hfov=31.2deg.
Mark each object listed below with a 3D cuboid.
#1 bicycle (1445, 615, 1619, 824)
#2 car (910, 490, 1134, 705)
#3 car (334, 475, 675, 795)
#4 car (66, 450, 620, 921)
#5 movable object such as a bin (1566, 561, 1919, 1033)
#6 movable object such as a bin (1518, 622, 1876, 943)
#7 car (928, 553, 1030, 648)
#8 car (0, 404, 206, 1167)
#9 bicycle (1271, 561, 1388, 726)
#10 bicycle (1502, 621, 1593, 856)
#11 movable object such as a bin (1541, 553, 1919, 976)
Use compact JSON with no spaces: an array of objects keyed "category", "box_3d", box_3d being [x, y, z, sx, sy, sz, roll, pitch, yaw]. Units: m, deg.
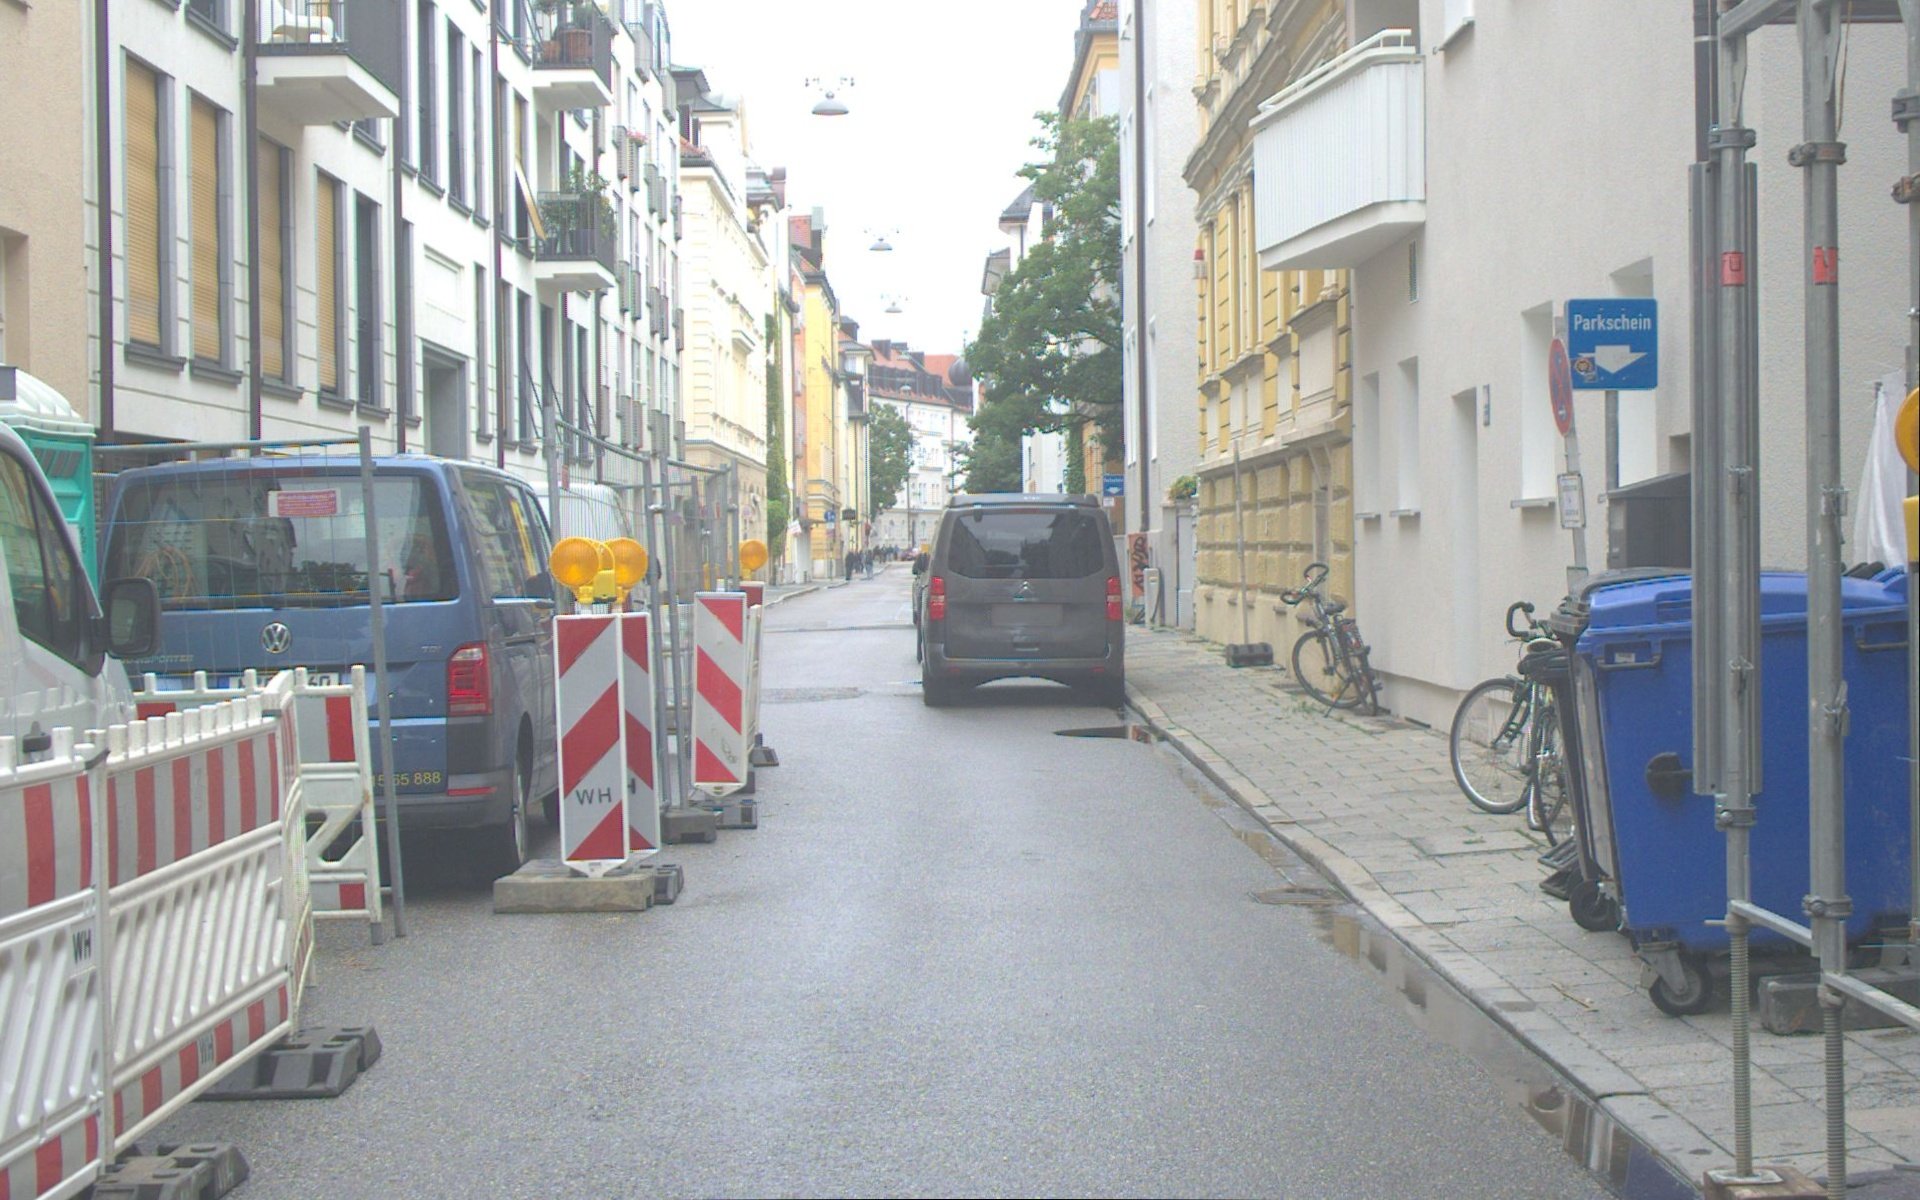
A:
[{"category":"bicycle","box_3d":[2.896,0.587,17.490,0.404,0.988,1.329,-4,1,-9]},{"category":"car","box_3d":[0.526,-0.067,33.354,1.993,1.925,4.660,1,1,-1]},{"category":"car","box_3d":[-2.936,0.175,23.131,1.904,1.891,5.090,-1,1,-4]},{"category":"car","box_3d":[-2.846,0.319,17.095,1.727,1.891,5.509,-2,1,0]},{"category":"movable object such as a bin","box_3d":[2.553,0.593,10.975,1.087,1.341,1.317,-4,1,12]},{"category":"movable object such as a bin","box_3d":[2.804,0.688,13.199,1.211,1.091,0.789,-4,1,8]},{"category":"car","box_3d":[0.332,-0.015,60.903,1.751,1.630,3.444,0,1,0]},{"category":"car","box_3d":[-3.362,0.487,8.663,1.917,1.891,4.791,-2,1,-2]},{"category":"bicycle","box_3d":[2.831,0.312,26.488,0.638,1.149,1.915,-3,2,0]},{"category":"bicycle","box_3d":[2.768,0.628,16.150,0.281,0.988,1.433,-4,1,13]},{"category":"movable object such as a bin","box_3d":[2.704,0.554,12.213,1.126,1.341,1.171,-4,1,8]}]
